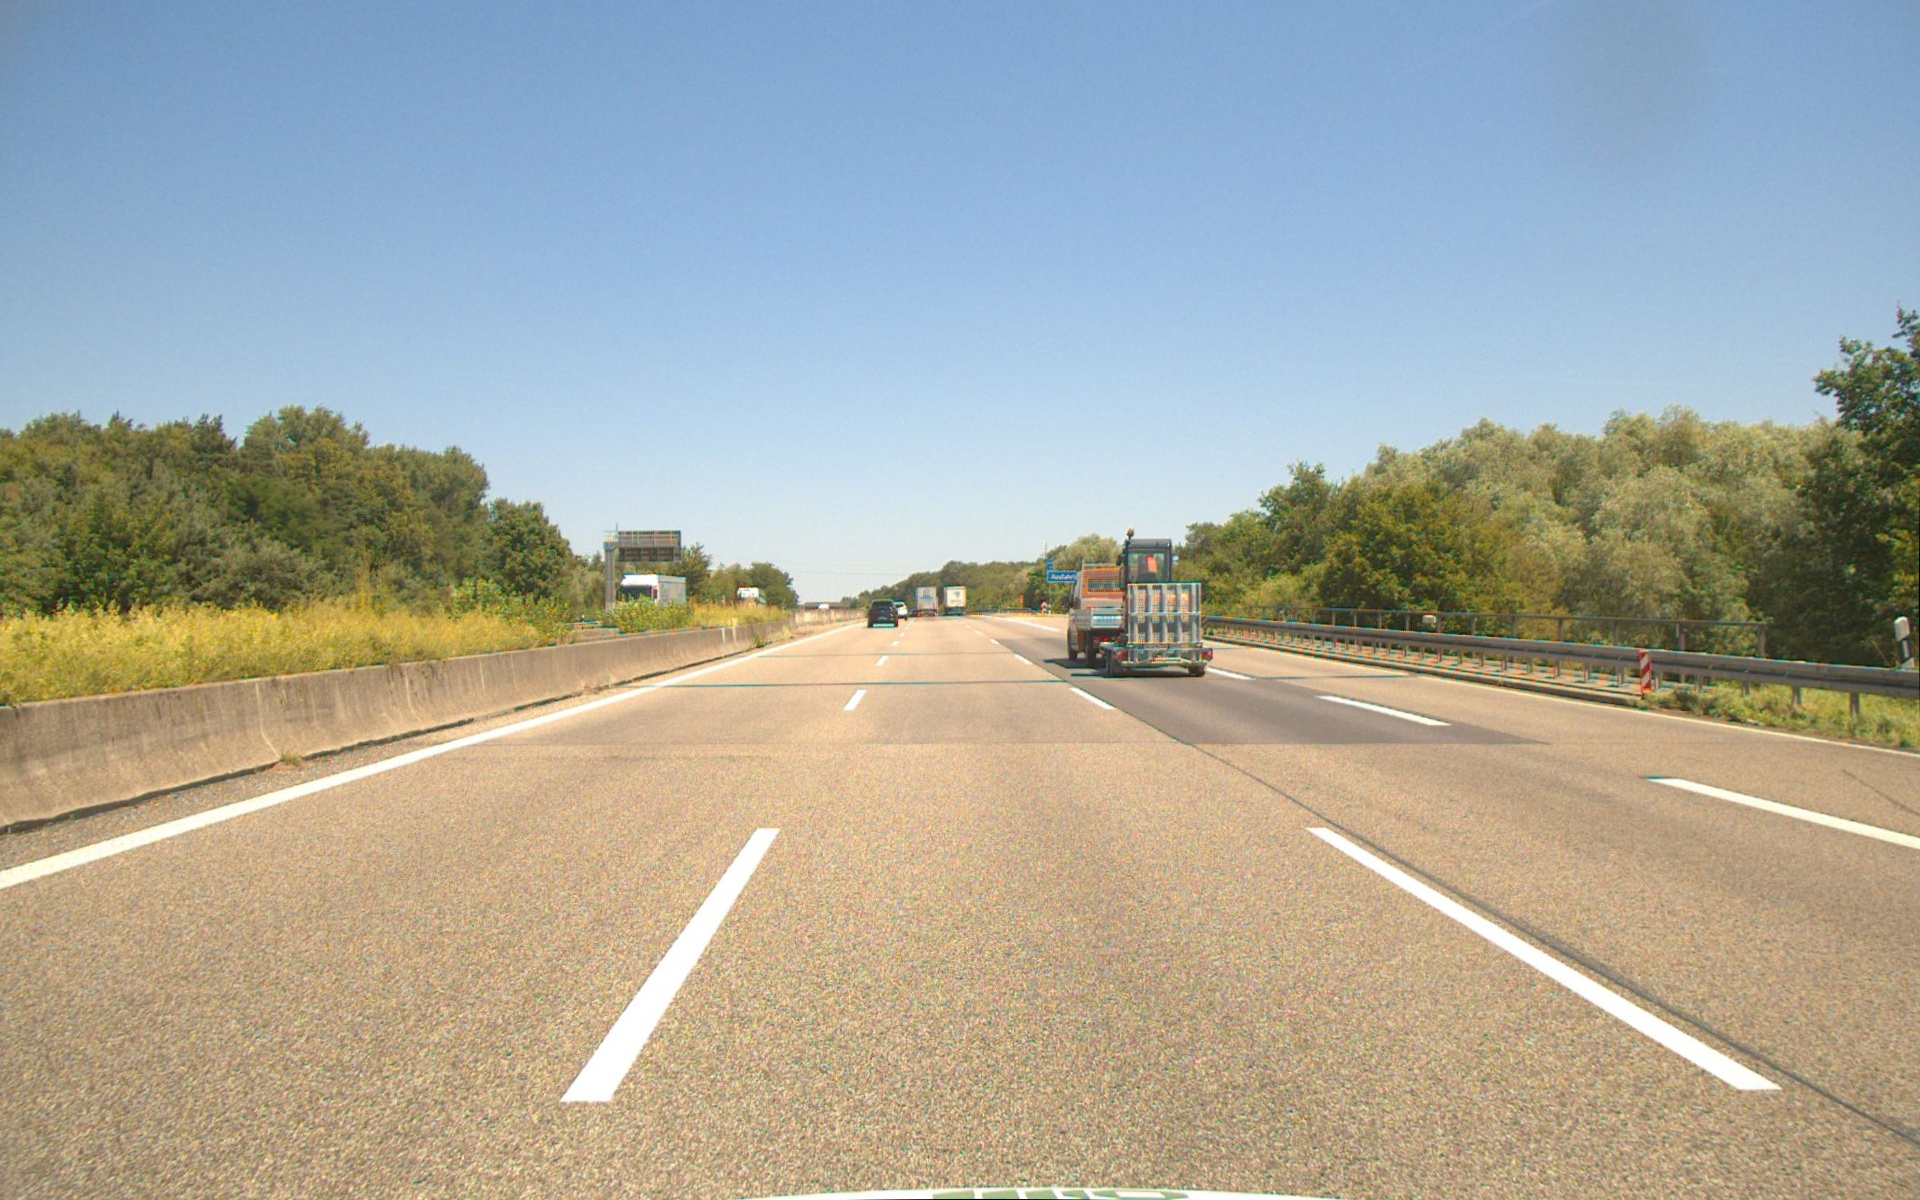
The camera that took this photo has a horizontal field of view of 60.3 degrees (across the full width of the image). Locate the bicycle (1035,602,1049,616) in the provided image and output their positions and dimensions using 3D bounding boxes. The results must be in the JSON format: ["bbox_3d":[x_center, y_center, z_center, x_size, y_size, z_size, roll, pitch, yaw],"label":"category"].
[{"bbox_3d":[6.975,0.778,140.851,0.940,1.178,2.609,1,0,7],"label":"bicycle"}]

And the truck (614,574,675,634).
[{"bbox_3d":[-22.902,0.268,120.292,2.924,4.147,8.191,-1,0,-1],"label":"truck"}]

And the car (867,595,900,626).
[{"bbox_3d":[-4.875,0.667,105.273,1.953,1.907,3.999,-2,0,-1],"label":"car"}]

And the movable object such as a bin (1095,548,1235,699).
[{"bbox_3d":[4.145,0.460,34.228,2.130,2.865,4.759,-1,0,-1],"label":"movable object such as a bin"}]

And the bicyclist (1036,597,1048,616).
[{"bbox_3d":[6.946,0.578,140.749,0.940,1.623,0.808,1,-1,7],"label":"bicyclist"}]

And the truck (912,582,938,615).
[{"bbox_3d":[-4.559,-0.186,214.868,3.164,4.276,8.461,1,0,-2],"label":"truck"}]

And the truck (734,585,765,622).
[{"bbox_3d":[-24.628,0.441,193.803,2.751,4.118,7.727,1,0,-2],"label":"truck"}]

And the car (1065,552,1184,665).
[{"bbox_3d":[3.862,0.206,40.168,1.953,2.447,7.224,-1,0,-1],"label":"car"}]

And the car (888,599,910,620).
[{"bbox_3d":[-5.628,0.864,152.363,1.953,1.907,3.999,-1,0,-1],"label":"car"}]

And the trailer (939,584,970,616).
[{"bbox_3d":[-0.812,0.005,227.751,3.303,4.215,9.078,1,0,-7],"label":"trailer"}]
